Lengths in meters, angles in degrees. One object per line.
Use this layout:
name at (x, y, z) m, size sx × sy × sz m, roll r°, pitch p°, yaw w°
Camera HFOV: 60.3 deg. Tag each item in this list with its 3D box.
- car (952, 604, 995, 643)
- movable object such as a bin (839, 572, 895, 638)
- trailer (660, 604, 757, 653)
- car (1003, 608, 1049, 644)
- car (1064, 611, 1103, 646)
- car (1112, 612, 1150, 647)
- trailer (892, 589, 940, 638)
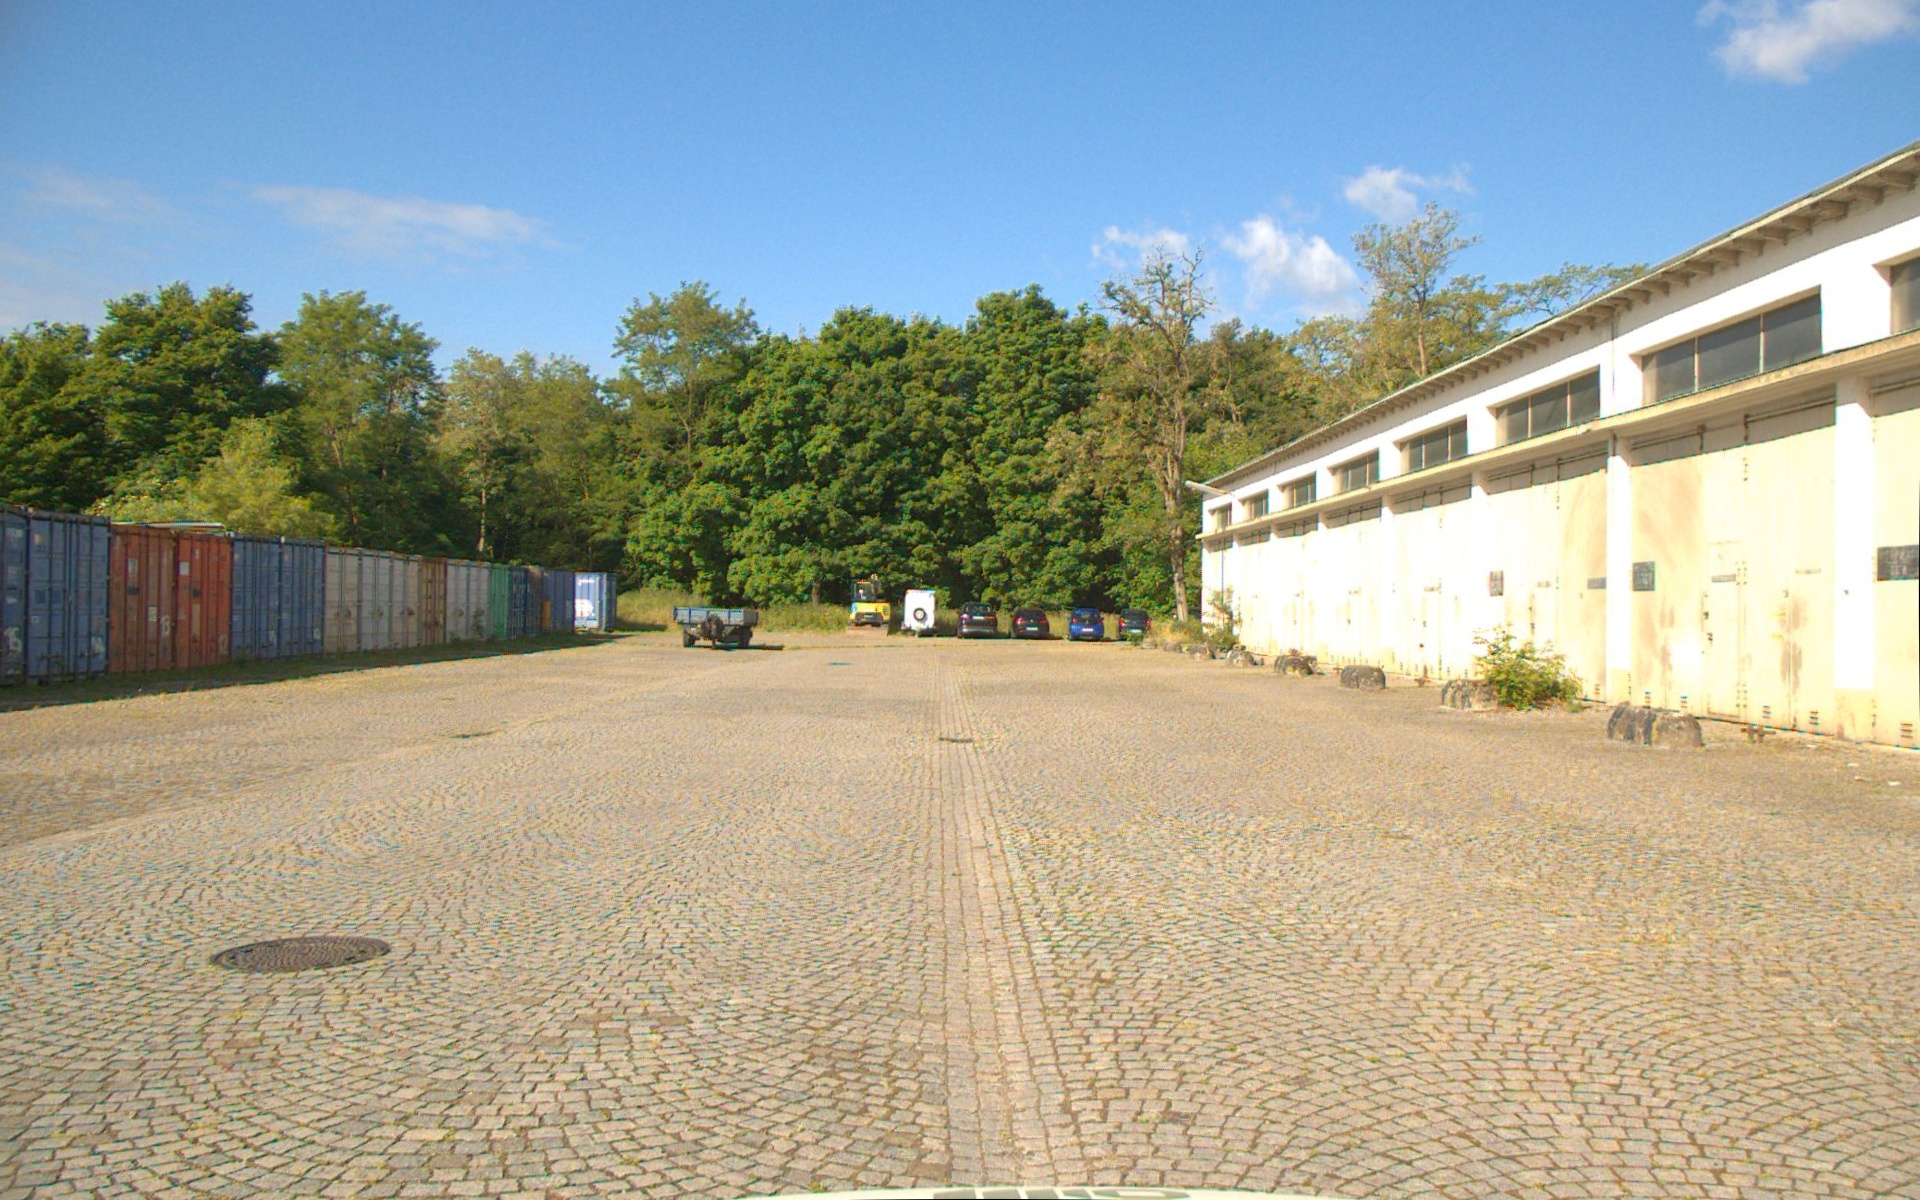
car at (0.595, 1.070, 76.655) m, size 1.826 × 1.617 × 4.295 m, roll 2°, pitch 1°, yaw -1°
movable object such as a bin at (-4.418, 0.203, 79.532) m, size 2.259 × 2.947 × 5.751 m, roll 2°, pitch 1°, yaw 0°
trailer at (-8.839, 0.983, 58.747) m, size 2.651 × 1.491 × 6.244 m, roll 2°, pitch 0°, yaw -2°
car at (3.027, 1.182, 77.072) m, size 1.826 × 1.496 × 4.295 m, roll 2°, pitch 1°, yaw -1°
car at (5.737, 1.305, 77.067) m, size 1.707 × 1.461 × 4.185 m, roll 2°, pitch 1°, yaw 4°
car at (8.116, 1.372, 78.525) m, size 1.707 × 1.461 × 4.186 m, roll 2°, pitch 1°, yaw 6°
trailer at (-2.084, 0.624, 78.982) m, size 2.149 × 2.131 × 5.750 m, roll 2°, pitch 1°, yaw -1°
